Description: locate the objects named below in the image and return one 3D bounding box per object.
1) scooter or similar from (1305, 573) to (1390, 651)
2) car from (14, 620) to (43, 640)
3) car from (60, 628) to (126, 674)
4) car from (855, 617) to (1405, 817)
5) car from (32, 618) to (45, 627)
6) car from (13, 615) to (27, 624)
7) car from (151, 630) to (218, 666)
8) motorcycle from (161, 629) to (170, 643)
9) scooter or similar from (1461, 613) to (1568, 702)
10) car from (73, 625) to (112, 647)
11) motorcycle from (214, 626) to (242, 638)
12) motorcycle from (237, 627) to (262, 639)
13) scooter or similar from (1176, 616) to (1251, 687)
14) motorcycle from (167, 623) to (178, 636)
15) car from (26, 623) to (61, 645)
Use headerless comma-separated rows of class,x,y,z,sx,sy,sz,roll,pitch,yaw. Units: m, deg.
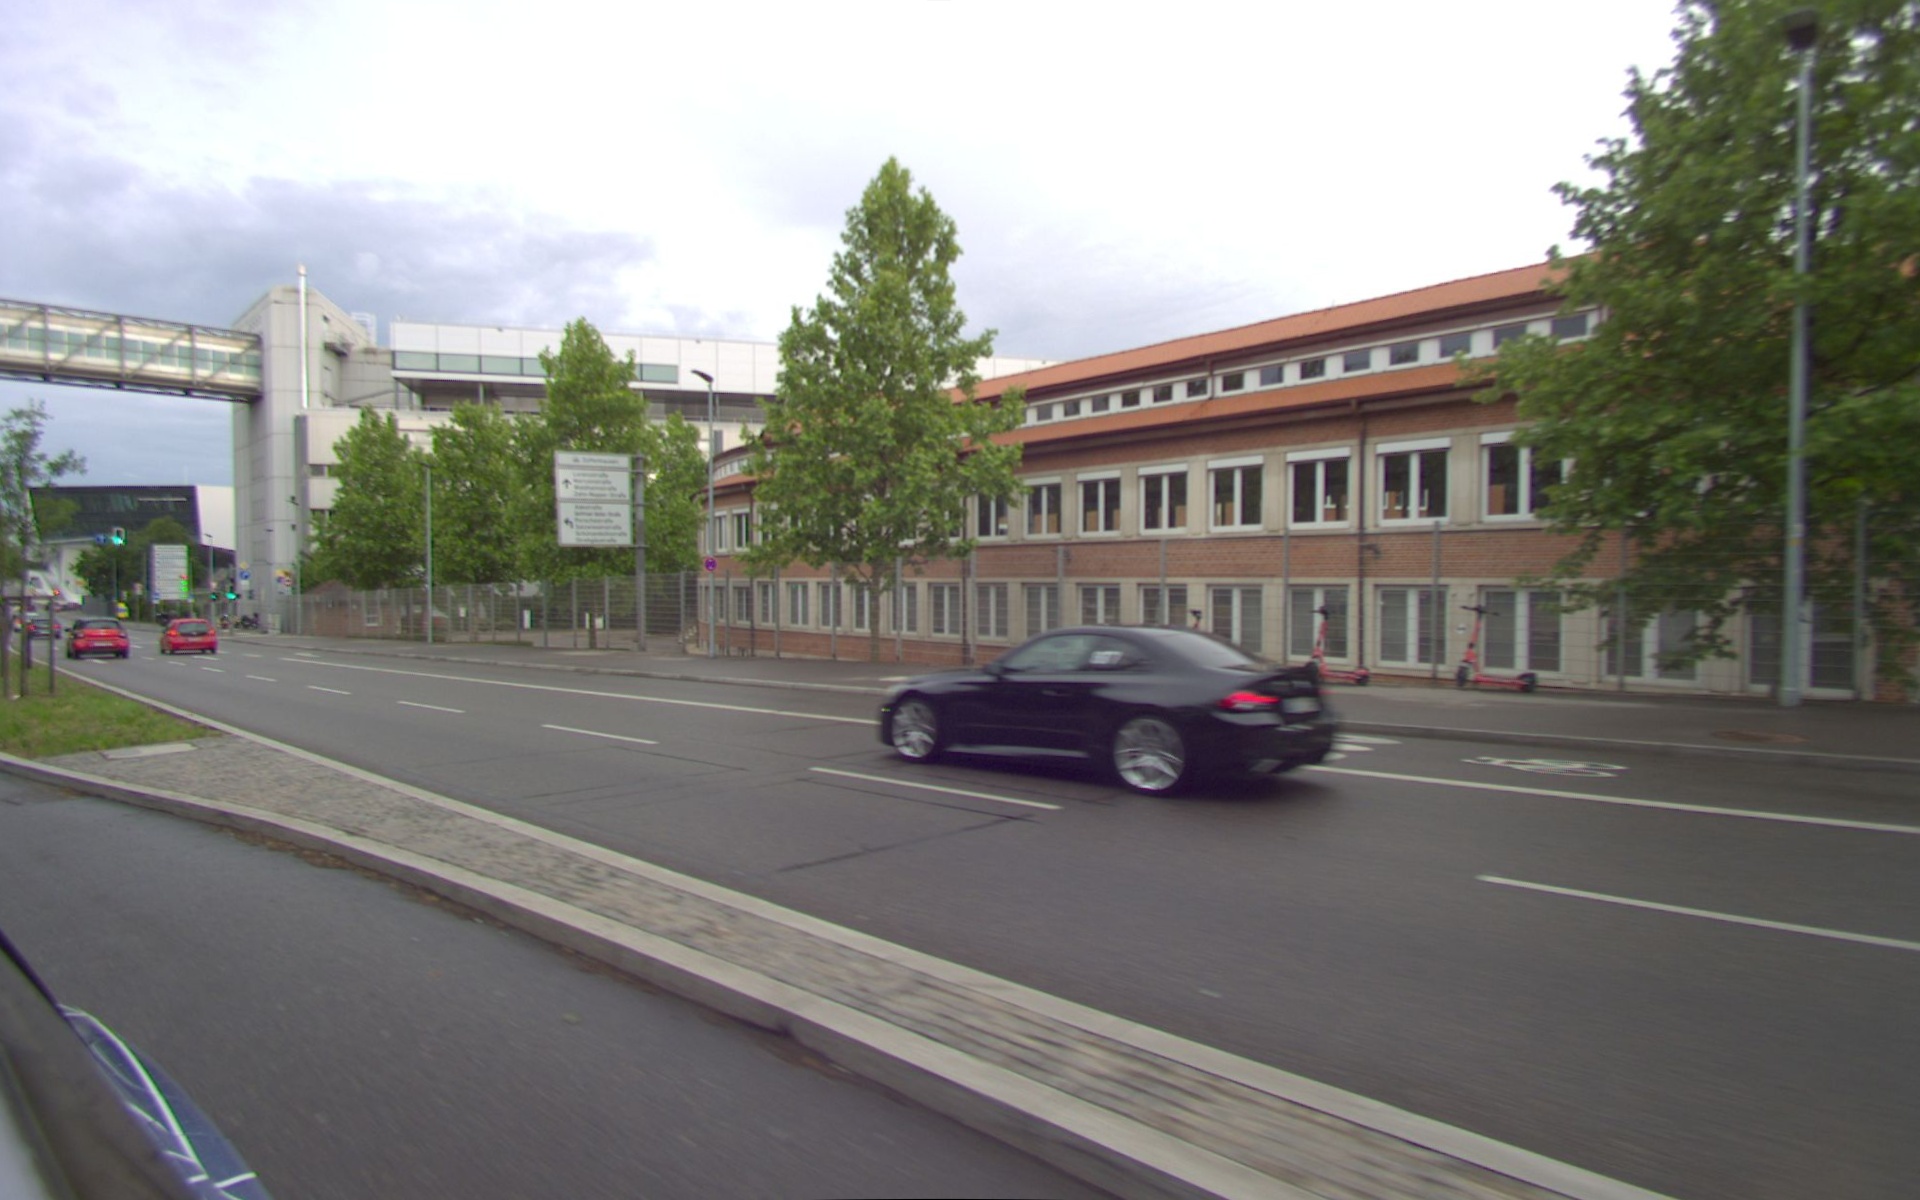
scooter or similar,6.252,0.200,16.375,0.307,1.227,1.311,0,-1,-33
car,-78.970,2.553,85.755,1.751,1.601,4.489,0,-1,-43
car,-32.897,1.902,38.350,3.857,1.617,1.567,-1,-2,45
car,1.349,0.894,9.483,4.757,1.372,2.041,-2,-1,43
car,-173.975,4.203,191.017,1.751,1.601,4.489,0,-1,-43
car,-166.727,3.462,179.488,1.751,1.601,4.489,0,-1,-43
car,-32.874,1.998,42.886,3.773,1.448,1.696,-1,-2,44
motorcycle,-76.635,3.419,97.576,0.617,1.277,2.175,-2,1,-39
scooter or similar,8.011,0.813,14.672,0.307,1.227,1.310,0,-1,-40
car,-60.229,2.489,70.245,1.753,1.414,4.617,0,-1,-45
motorcycle,-63.903,2.786,88.335,2.147,1.035,0.625,0,-1,10
motorcycle,-61.697,2.850,87.835,2.153,1.035,0.623,0,-1,18
scooter or similar,4.536,0.912,18.160,0.308,1.227,1.308,0,-2,-45
motorcycle,-73.451,2.744,94.386,2.039,1.171,0.561,-1,-1,44
car,-61.035,2.246,67.369,1.559,1.414,4.114,0,-1,-45
